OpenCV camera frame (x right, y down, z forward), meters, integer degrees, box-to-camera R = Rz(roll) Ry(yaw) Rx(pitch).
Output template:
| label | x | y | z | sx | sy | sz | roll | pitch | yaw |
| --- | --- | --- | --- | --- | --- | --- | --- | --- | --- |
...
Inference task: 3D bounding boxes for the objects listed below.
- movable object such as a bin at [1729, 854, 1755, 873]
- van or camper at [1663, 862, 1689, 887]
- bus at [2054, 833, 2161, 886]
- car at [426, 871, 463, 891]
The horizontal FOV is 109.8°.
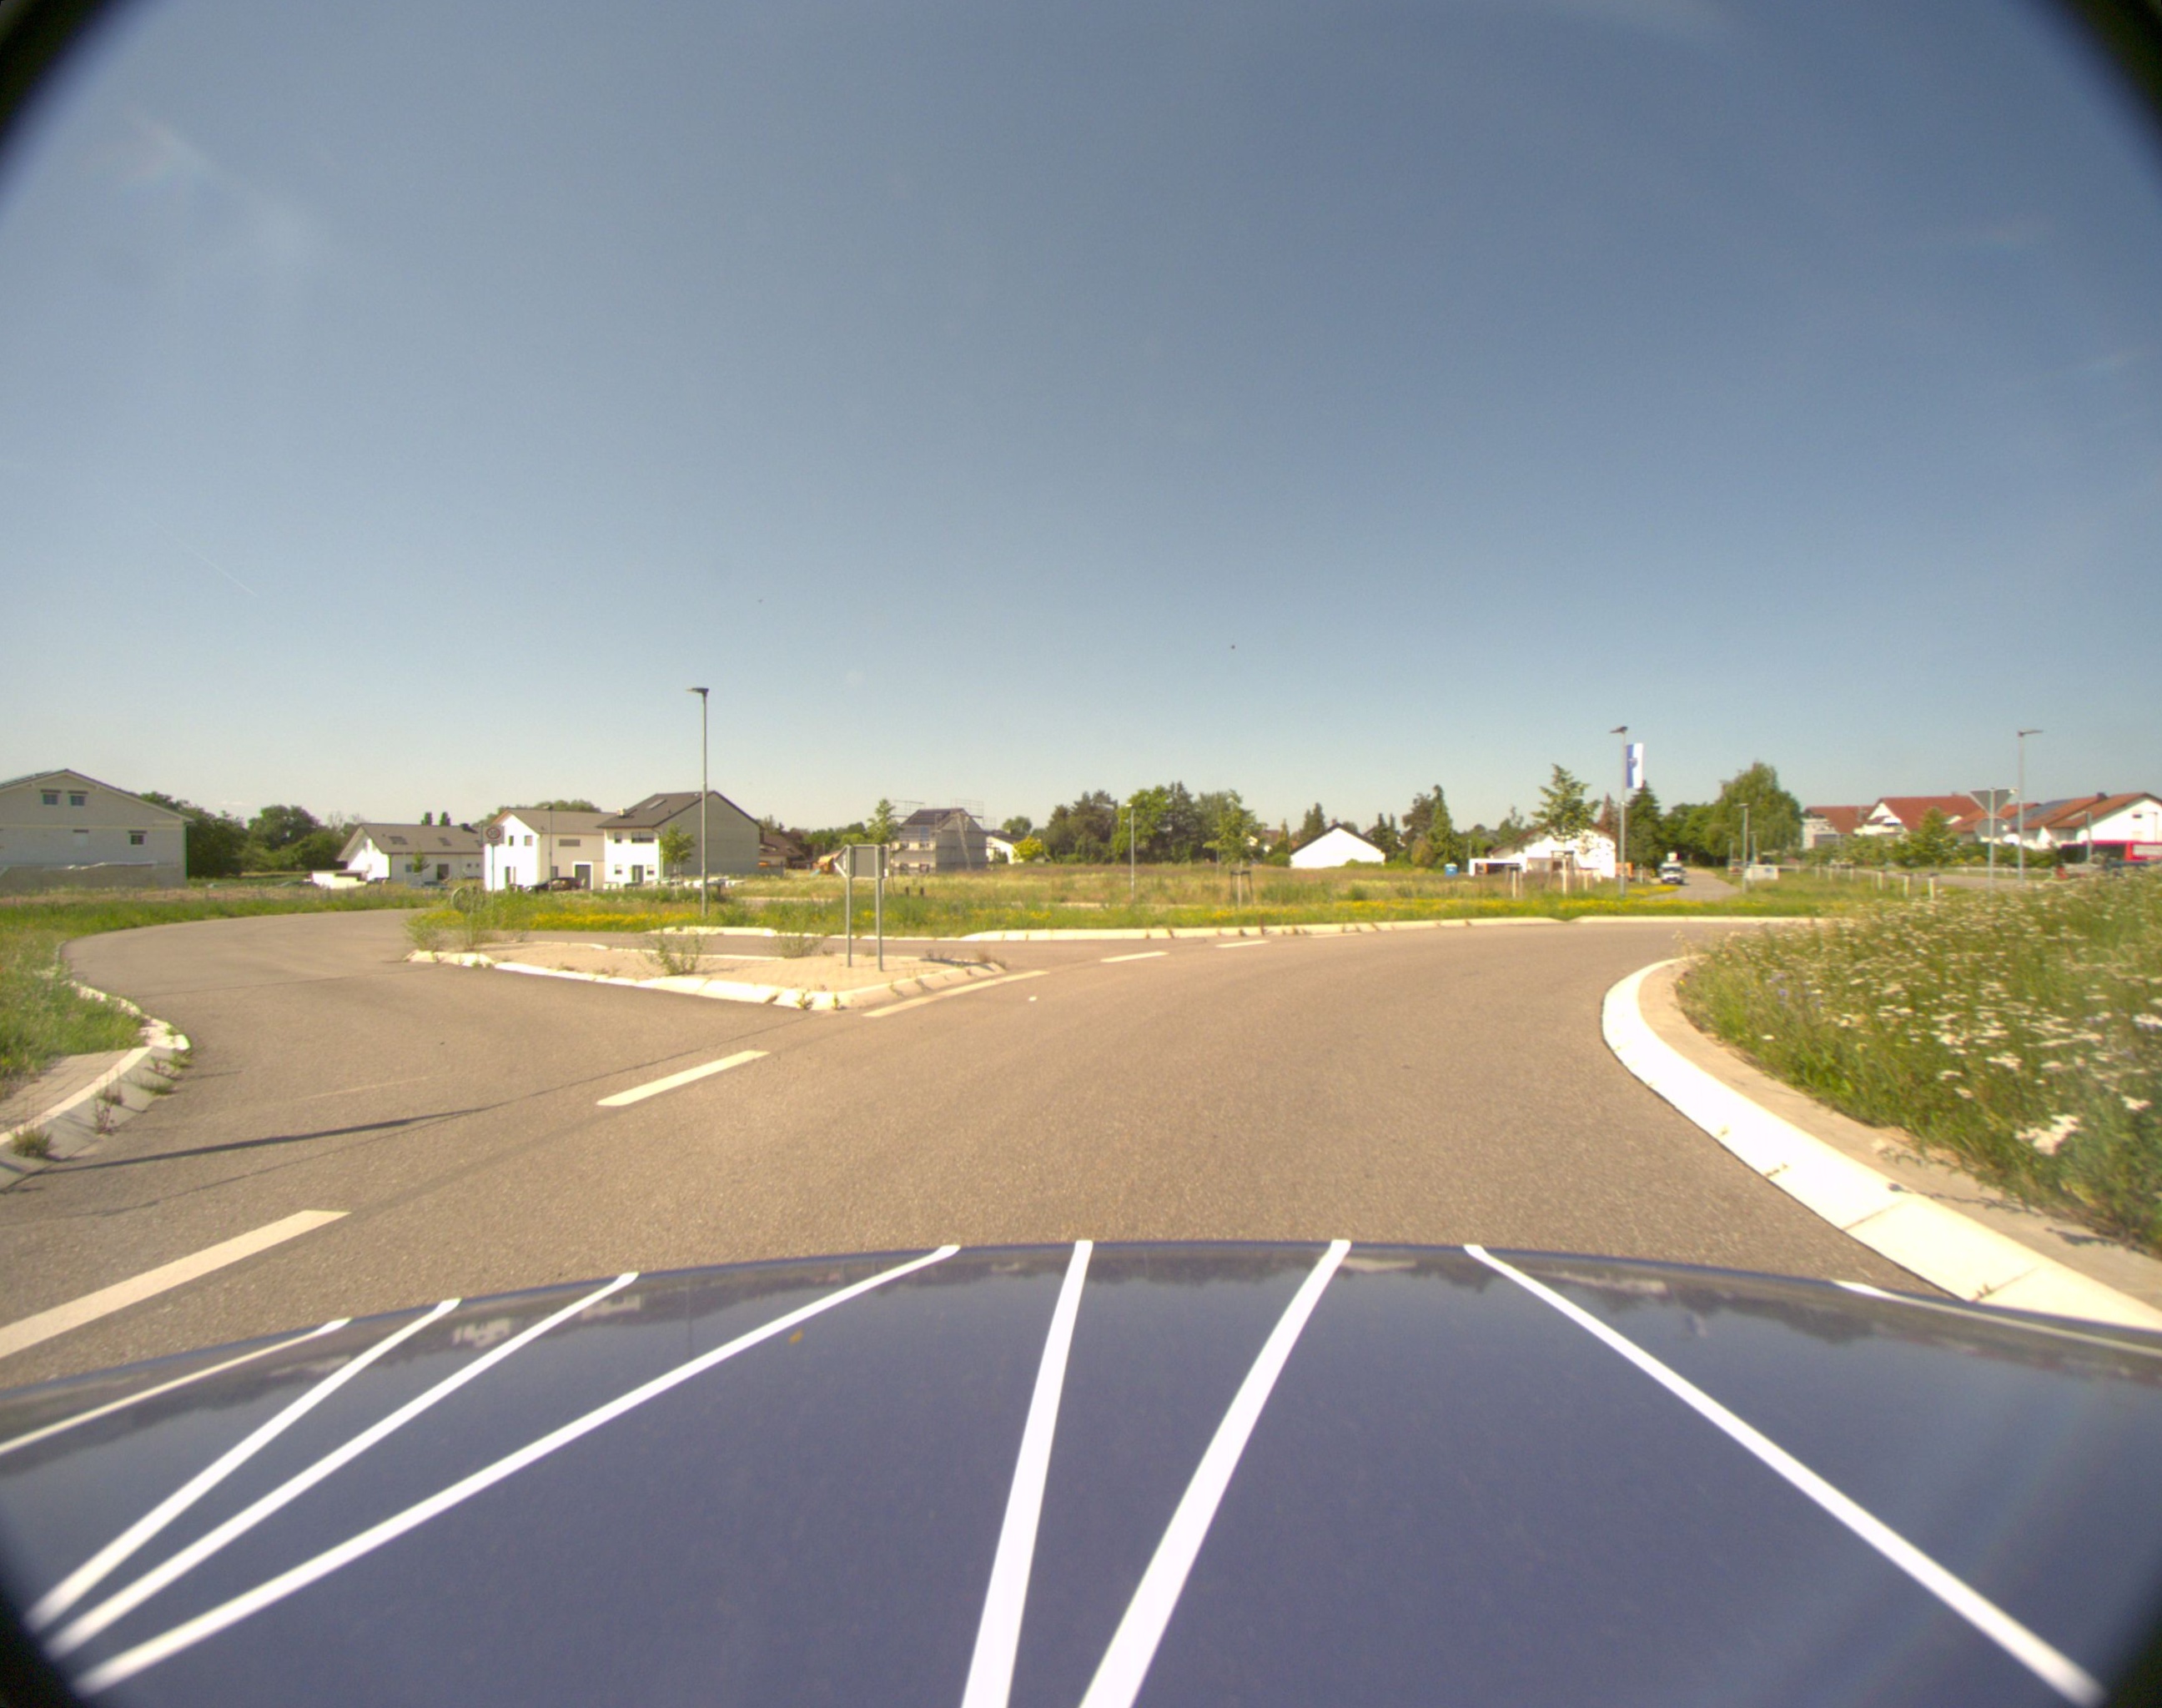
| label | x | y | z | sx | sy | sz | roll | pitch | yaw |
| --- | --- | --- | --- | --- | --- | --- | --- | --- | --- |
| movable object such as a bin | 86.680 | 1.290 | 99.676 | 2.317 | 2.447 | 6.962 | -2 | -2 | 39 |
| van or camper | 66.494 | 2.263 | 84.988 | 2.173 | 2.585 | 6.043 | -1 | 0 | 37 |
| bus | 71.241 | 0.407 | 52.149 | 2.794 | 3.268 | 12.256 | 3 | 2 | 40 |
| car | -55.085 | 2.360 | 65.736 | 3.477 | 1.652 | 1.685 | -2 | -1 | 37 |
